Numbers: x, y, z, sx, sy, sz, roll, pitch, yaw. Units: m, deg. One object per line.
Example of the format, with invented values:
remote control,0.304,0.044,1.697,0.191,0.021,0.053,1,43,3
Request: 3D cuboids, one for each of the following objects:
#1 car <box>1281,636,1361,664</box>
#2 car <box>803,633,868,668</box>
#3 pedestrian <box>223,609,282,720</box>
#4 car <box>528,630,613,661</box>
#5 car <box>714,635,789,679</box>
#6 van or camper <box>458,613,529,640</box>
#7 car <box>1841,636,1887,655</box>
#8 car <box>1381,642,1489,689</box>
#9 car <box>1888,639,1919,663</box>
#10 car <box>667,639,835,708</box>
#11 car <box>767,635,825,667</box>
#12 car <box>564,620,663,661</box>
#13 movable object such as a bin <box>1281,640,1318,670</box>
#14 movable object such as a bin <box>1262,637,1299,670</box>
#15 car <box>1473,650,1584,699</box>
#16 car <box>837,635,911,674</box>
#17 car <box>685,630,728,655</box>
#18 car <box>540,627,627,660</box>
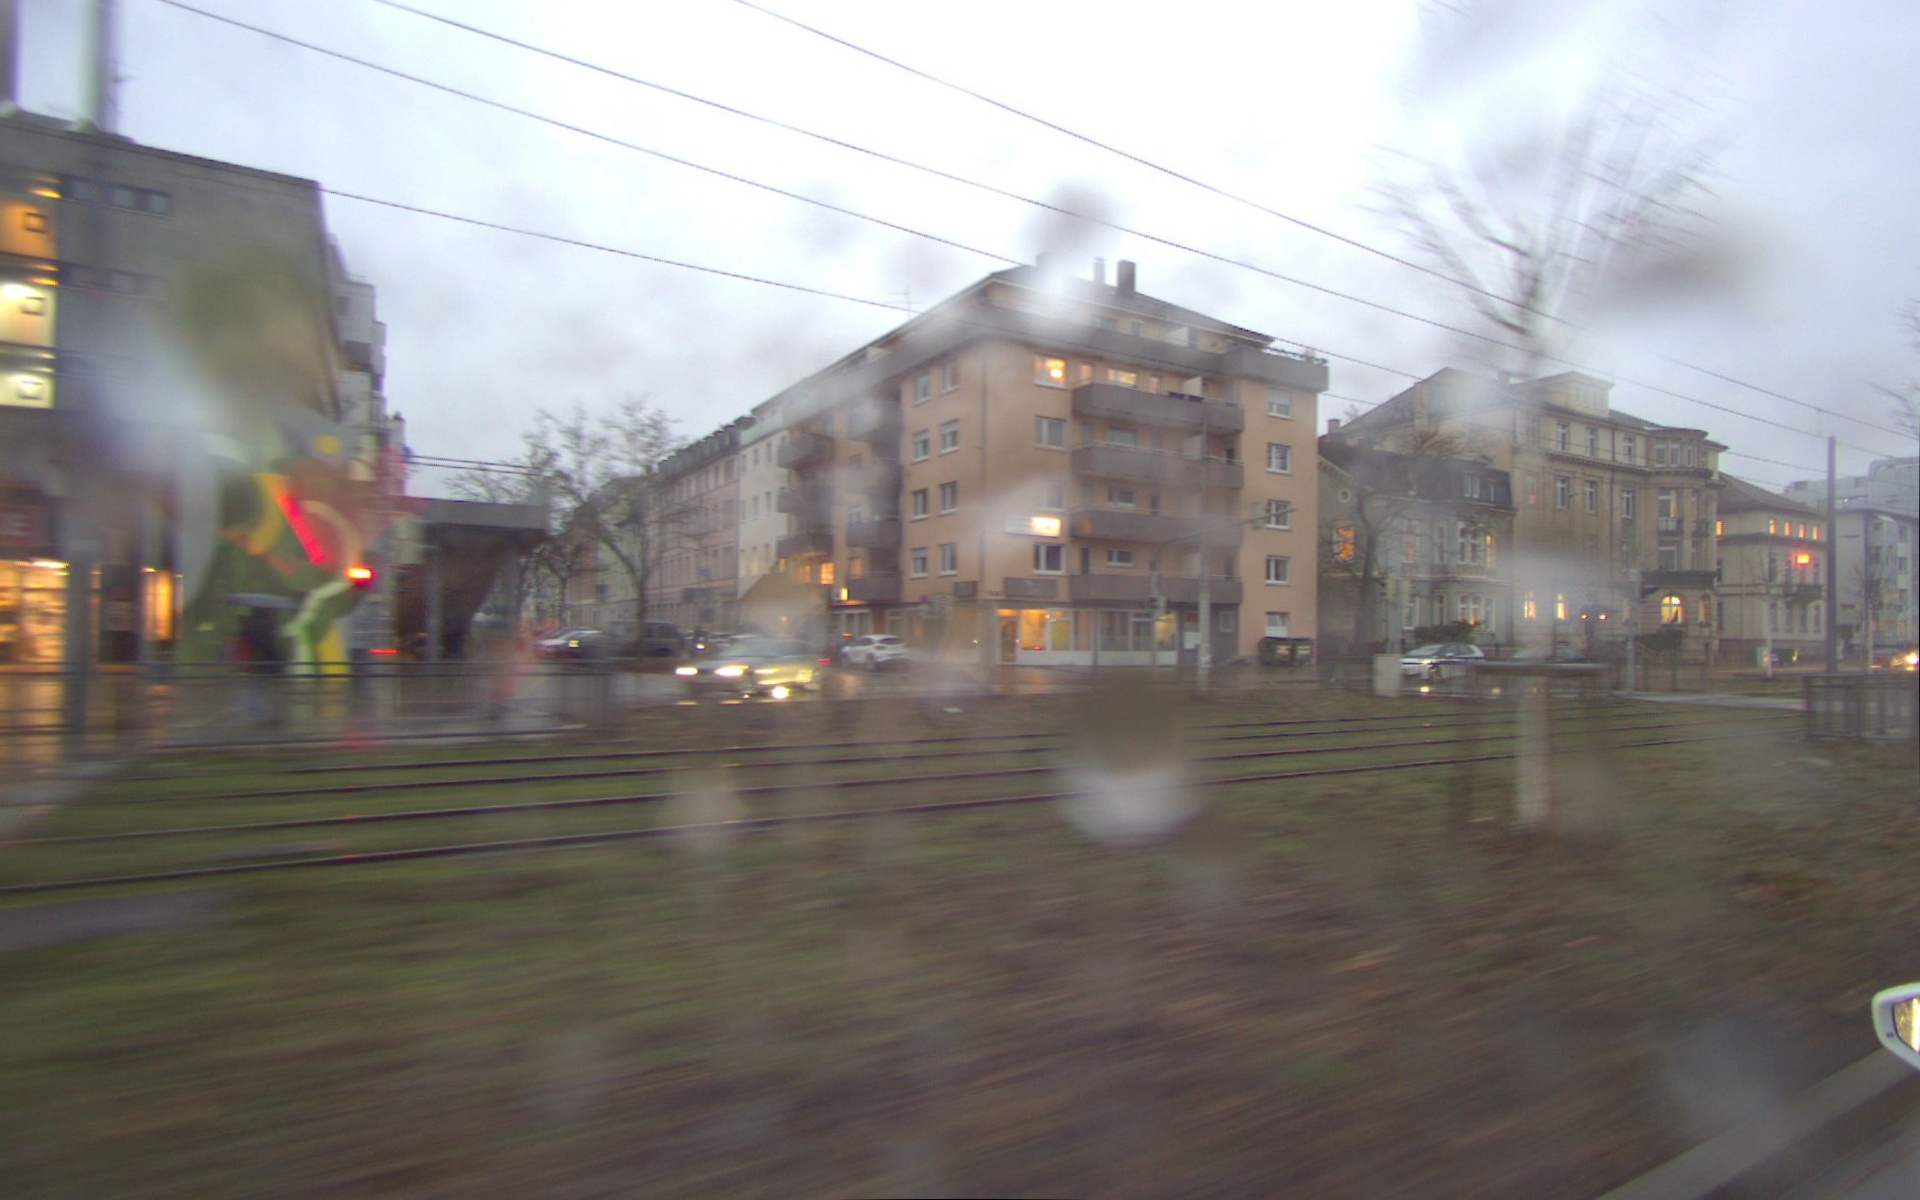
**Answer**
car,20.075,2.766,56.023,1.813,1.425,3.966,1,-1,-31
car,-6.076,2.434,48.721,1.738,1.572,3.807,2,-2,-31
pedestrian,-9.987,0.892,14.166,0.625,1.509,0.784,2,-2,-37
car,-18.845,2.187,48.623,3.542,1.439,1.822,2,-2,-33
car,-8.558,2.308,41.009,1.667,1.531,3.964,2,0,-33
van or camper,-41.209,2.333,88.802,5.566,2.272,1.985,2,-2,-30
car,71.825,3.578,79.811,3.885,1.455,1.796,2,-2,-33
car,18.007,2.483,38.073,3.955,1.606,1.792,3,0,-31
car,70.854,3.768,74.511,4.067,1.715,1.982,2,-2,-33
car,-5.336,1.848,26.360,1.962,1.565,4.702,1,-1,24
car,-8.749,2.669,53.273,1.738,1.572,3.807,2,-2,-31
car,-14.170,1.650,41.077,3.596,1.622,1.609,2,-2,-30
movable object such as a bin,16.864,2.721,49.918,1.410,1.500,1.101,1,-2,-33
movable object such as a bin,15.634,2.615,49.049,1.410,1.581,1.101,1,-2,-33
car,20.670,2.693,36.519,3.955,1.606,1.792,3,0,-31
car,-3.828,2.361,44.352,1.758,1.572,3.807,2,-2,-31
car,-17.015,2.825,67.269,1.738,1.572,3.807,2,-2,-31
car,-17.635,2.040,47.060,3.542,1.439,1.712,2,-2,-33
